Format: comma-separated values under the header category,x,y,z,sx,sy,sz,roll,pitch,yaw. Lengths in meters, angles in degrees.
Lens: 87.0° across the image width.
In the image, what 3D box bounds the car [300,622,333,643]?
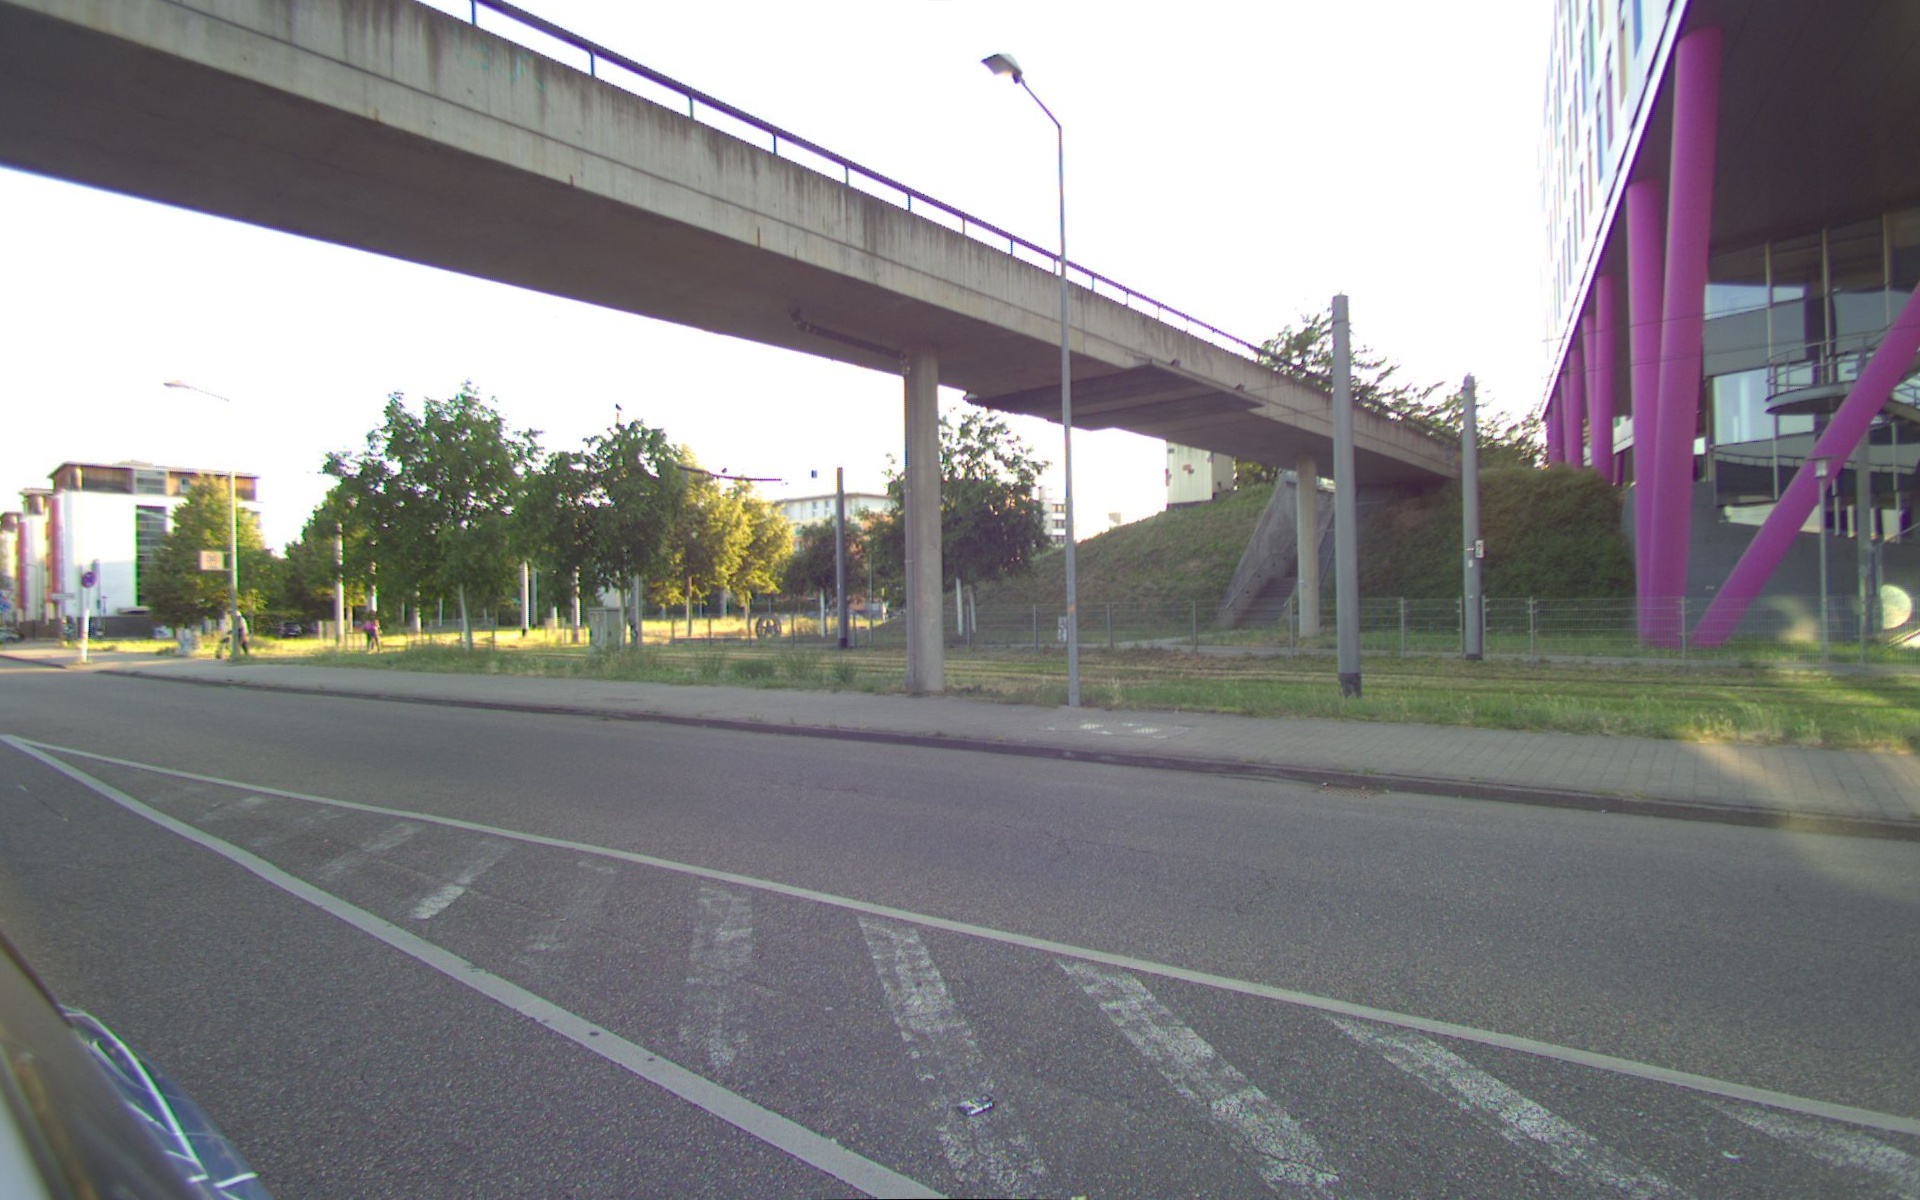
category,x,y,z,sx,sy,sz,roll,pitch,yaw
car,-55.379,2.782,87.055,1.843,1.734,3.851,-1,-1,-40

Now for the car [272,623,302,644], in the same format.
category,x,y,z,sx,sy,sz,roll,pitch,yaw
car,-56.983,2.810,85.634,1.842,1.734,3.853,-1,-1,-38

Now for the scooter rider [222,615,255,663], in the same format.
category,x,y,z,sx,sy,sz,roll,pitch,yaw
scooter rider,-24.923,1.337,34.968,0.884,1.589,0.713,-1,-1,-38

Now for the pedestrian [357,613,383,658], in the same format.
category,x,y,z,sx,sy,sz,roll,pitch,yaw
pedestrian,-22.054,1.324,37.839,0.767,1.623,0.417,-1,-1,-38

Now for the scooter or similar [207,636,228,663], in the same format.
category,x,y,z,sx,sy,sz,roll,pitch,yaw
scooter or similar,-25.386,1.687,34.597,0.544,0.902,0.724,1,-1,-40

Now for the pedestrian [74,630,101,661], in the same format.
category,x,y,z,sx,sy,sz,roll,pitch,yaw
pedestrian,-59.217,3.091,68.709,1.072,2.029,1.143,-1,0,-21

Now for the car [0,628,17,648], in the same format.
category,x,y,z,sx,sy,sz,roll,pitch,yaw
car,-80.766,3.175,83.406,1.839,1.571,4.330,-1,0,42

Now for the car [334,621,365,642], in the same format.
category,x,y,z,sx,sy,sz,roll,pitch,yaw
car,-53.579,2.758,88.779,1.842,1.734,3.853,-1,-1,-38
